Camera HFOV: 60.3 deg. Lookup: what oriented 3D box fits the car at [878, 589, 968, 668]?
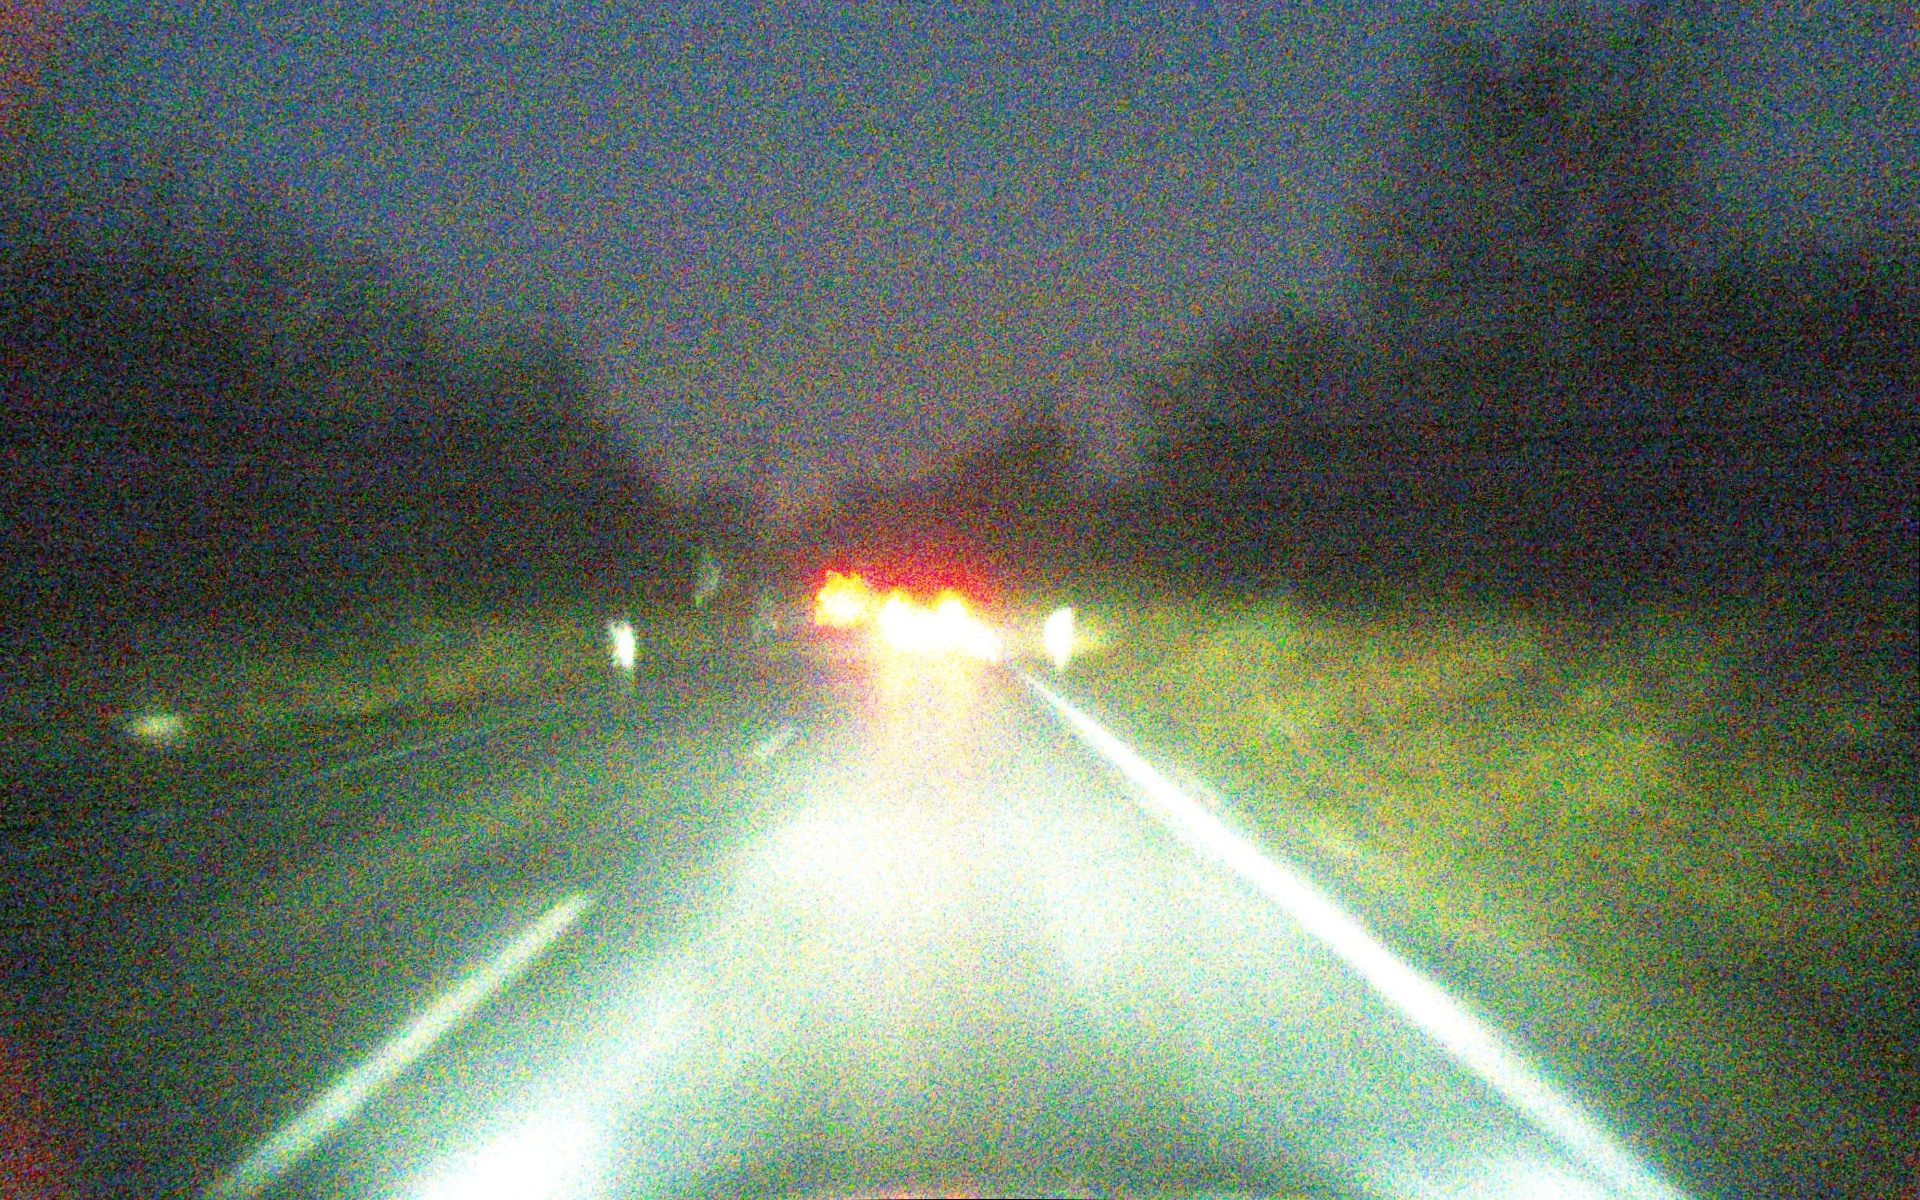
[{"bbox_3d":[-0.884,0.616,38.928,1.953,1.656,4.983,1,1,-2],"label":"car"}]
